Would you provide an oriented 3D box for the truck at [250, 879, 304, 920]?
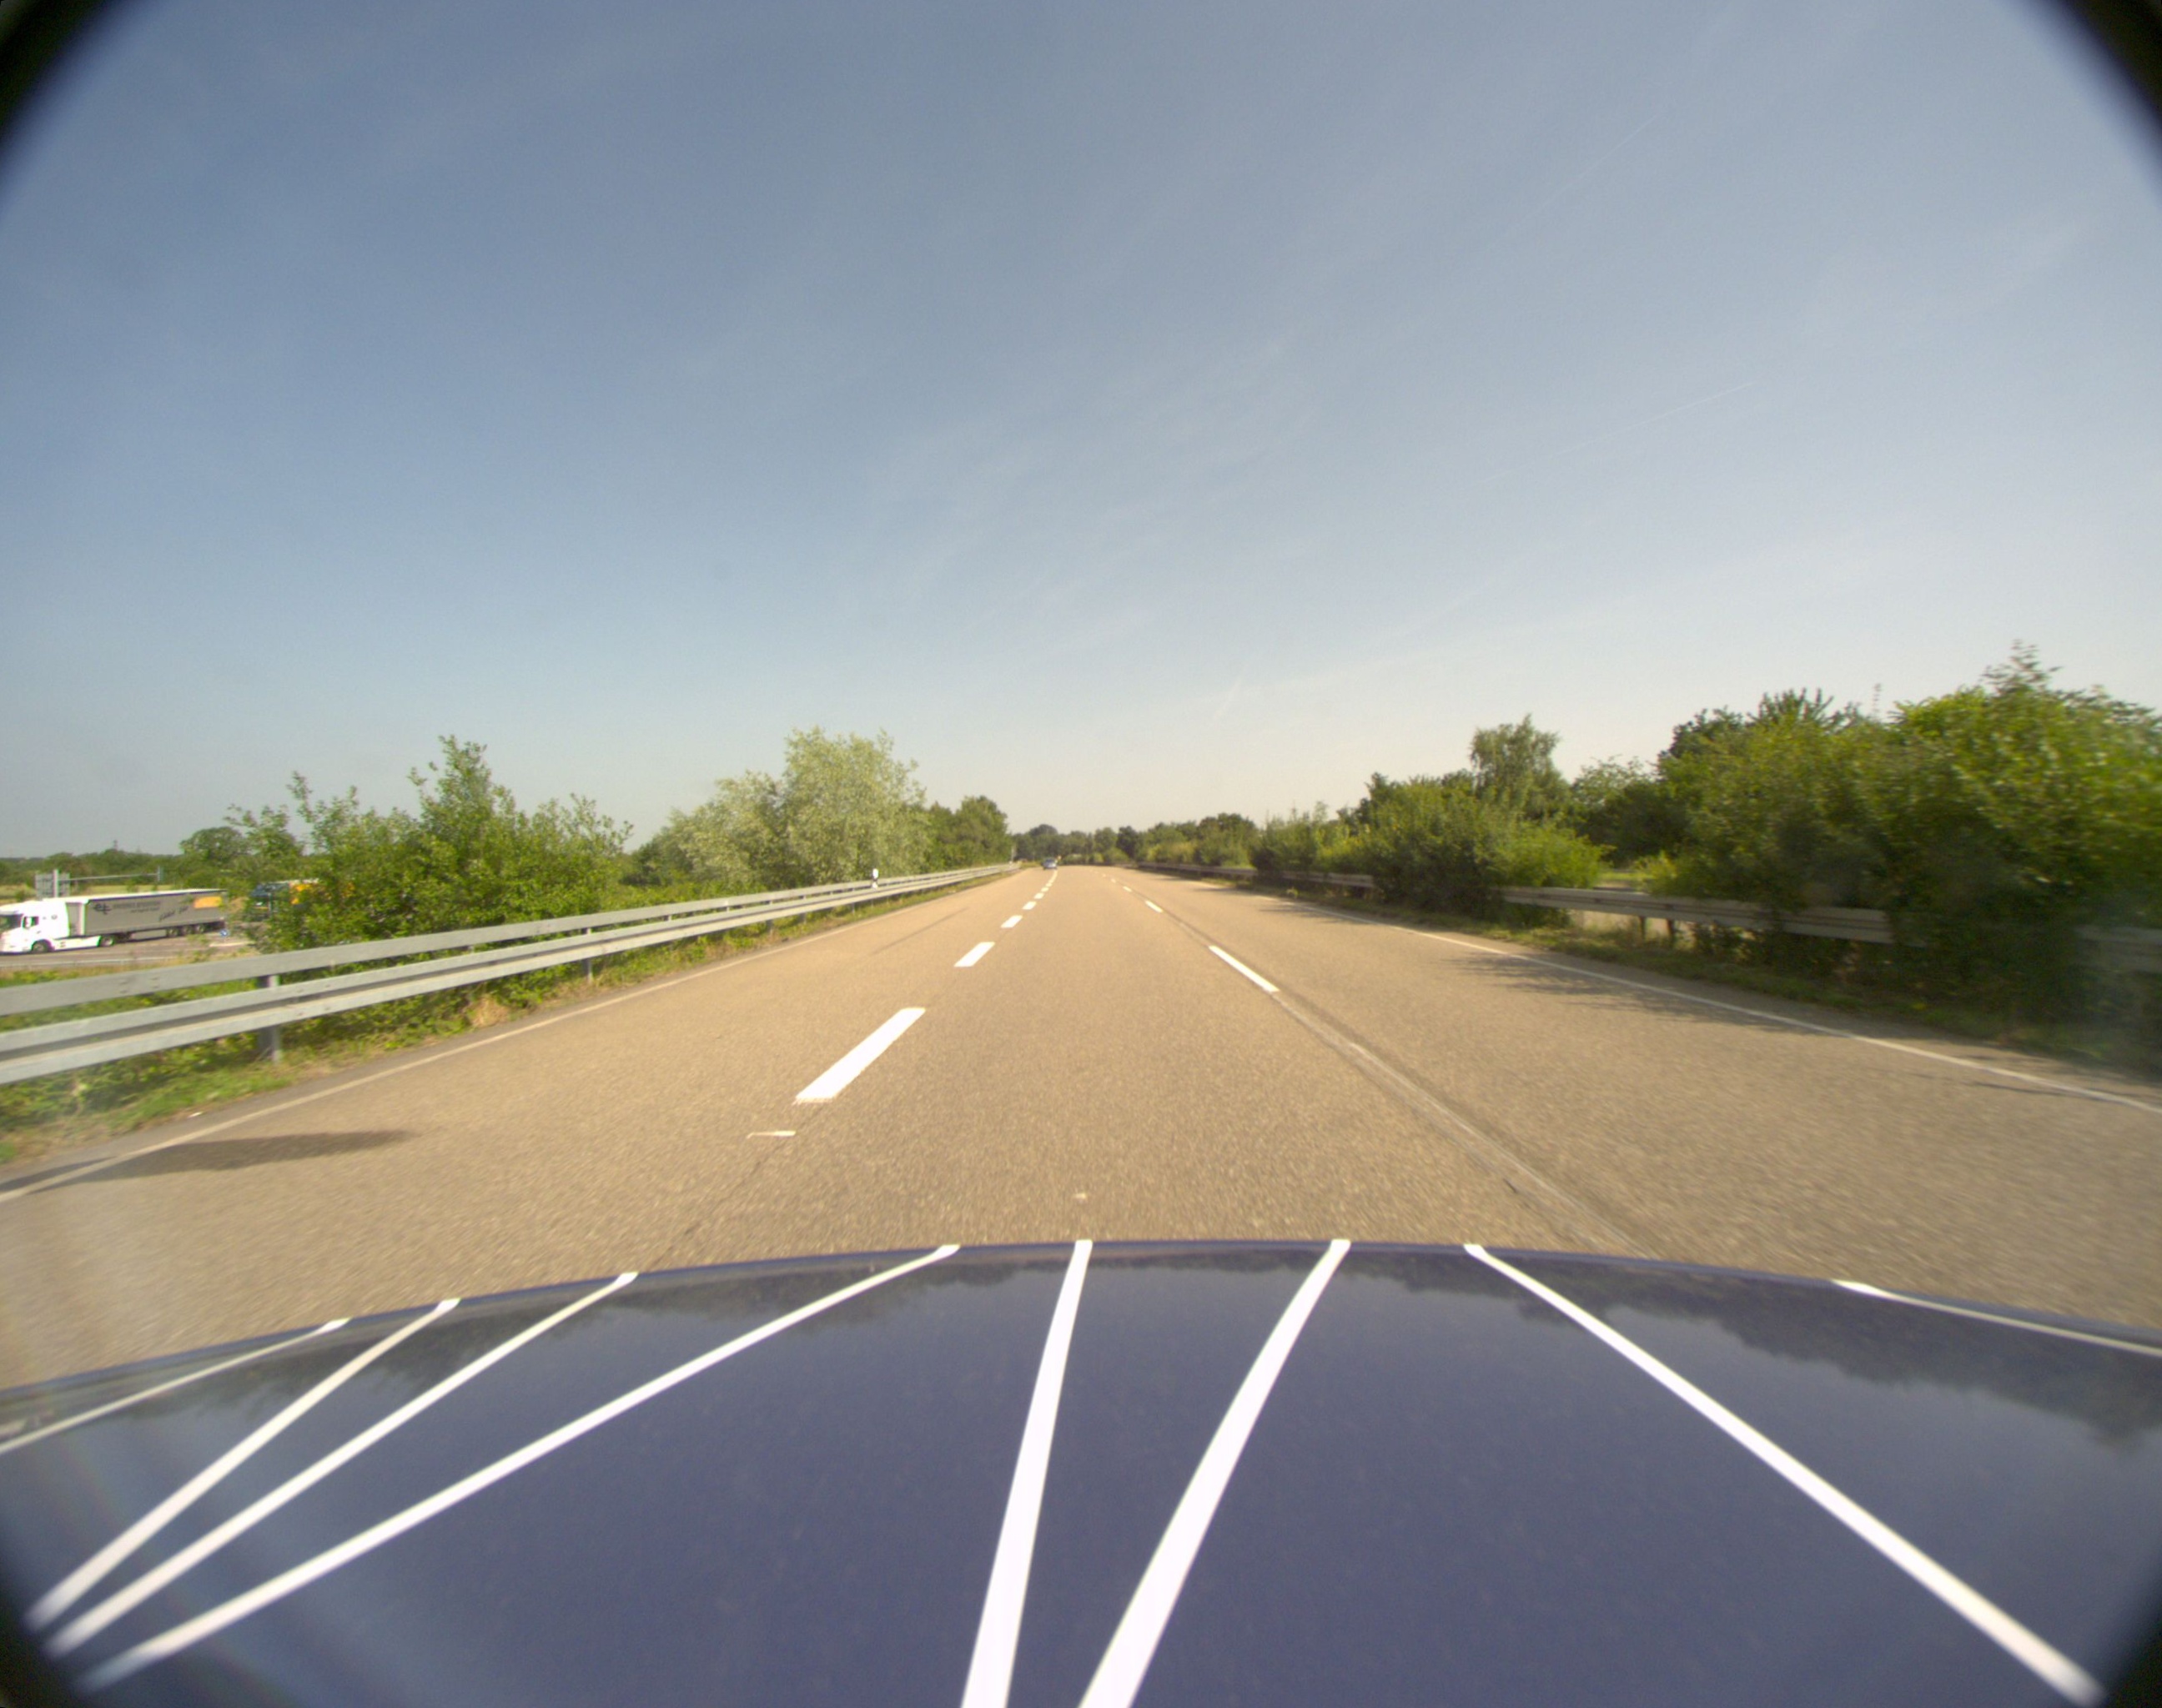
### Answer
[{"bbox_3d":[-87.229,4.920,82.511,2.264,4.145,4.363,-1,0,-21],"label":"truck"}]

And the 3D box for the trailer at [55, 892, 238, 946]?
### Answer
[{"bbox_3d":[-80.229,5.409,65.941,2.109,3.631,13.914,-1,0,-14],"label":"trailer"}]

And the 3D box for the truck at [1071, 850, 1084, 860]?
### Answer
[{"bbox_3d":[-1.170,0.203,254.899,2.877,3.258,14.108,-2,0,-6],"label":"truck"}]

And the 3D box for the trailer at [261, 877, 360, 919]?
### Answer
[{"bbox_3d":[-89.596,4.963,88.821,2.264,4.145,14.399,-1,0,-21],"label":"trailer"}]

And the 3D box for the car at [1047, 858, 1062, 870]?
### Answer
[{"bbox_3d":[-3.535,1.320,100.812,1.703,1.474,3.599,-3,-1,-4],"label":"car"}]

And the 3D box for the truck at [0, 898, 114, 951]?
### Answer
[{"bbox_3d":[-79.016,5.381,58.619,2.105,3.656,4.946,-1,0,9],"label":"truck"}]
